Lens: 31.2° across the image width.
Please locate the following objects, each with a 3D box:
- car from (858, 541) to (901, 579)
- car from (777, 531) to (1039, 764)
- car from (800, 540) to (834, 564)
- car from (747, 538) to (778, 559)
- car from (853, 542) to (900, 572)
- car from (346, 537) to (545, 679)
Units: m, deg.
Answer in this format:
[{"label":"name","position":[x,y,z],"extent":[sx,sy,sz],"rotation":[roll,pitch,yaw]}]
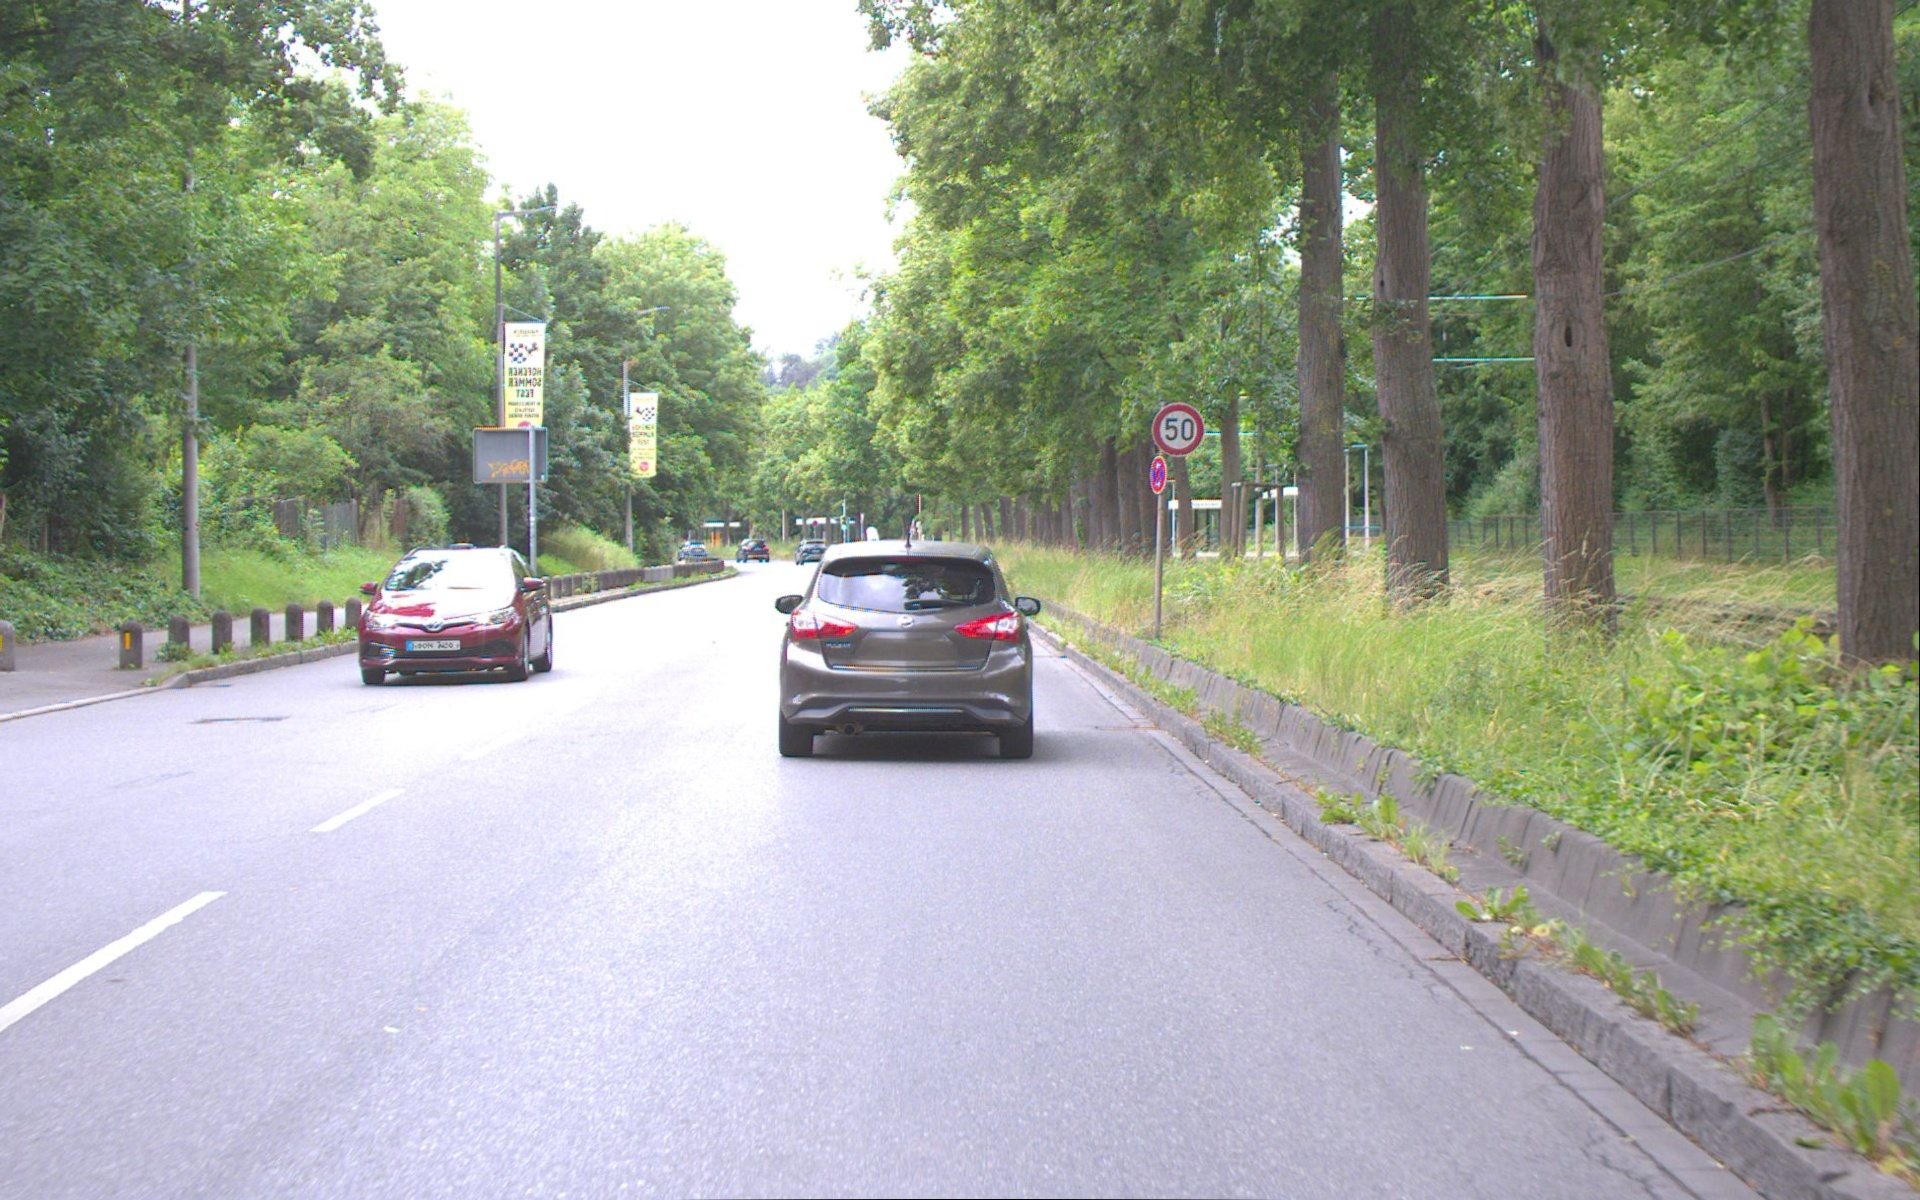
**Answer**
[{"label":"car","position":[-3.149,-1.580,134.895],"extent":[1.561,1.436,3.552],"rotation":[1,1,0]},{"label":"car","position":[-0.396,0.289,24.855],"extent":[1.730,1.532,3.552],"rotation":[1,1,-1]},{"label":"car","position":[-8.778,-2.927,210.314],"extent":[1.561,1.436,3.553],"rotation":[1,1,-11]},{"label":"car","position":[-14.007,-3.669,243.324],"extent":[1.561,1.436,3.553],"rotation":[1,1,-13]},{"label":"car","position":[-4.286,-2.207,175.802],"extent":[1.561,1.436,3.553],"rotation":[1,1,-15]},{"label":"car","position":[-5.573,0.043,37.656],"extent":[1.716,1.423,4.197],"rotation":[-2,1,-3]}]
